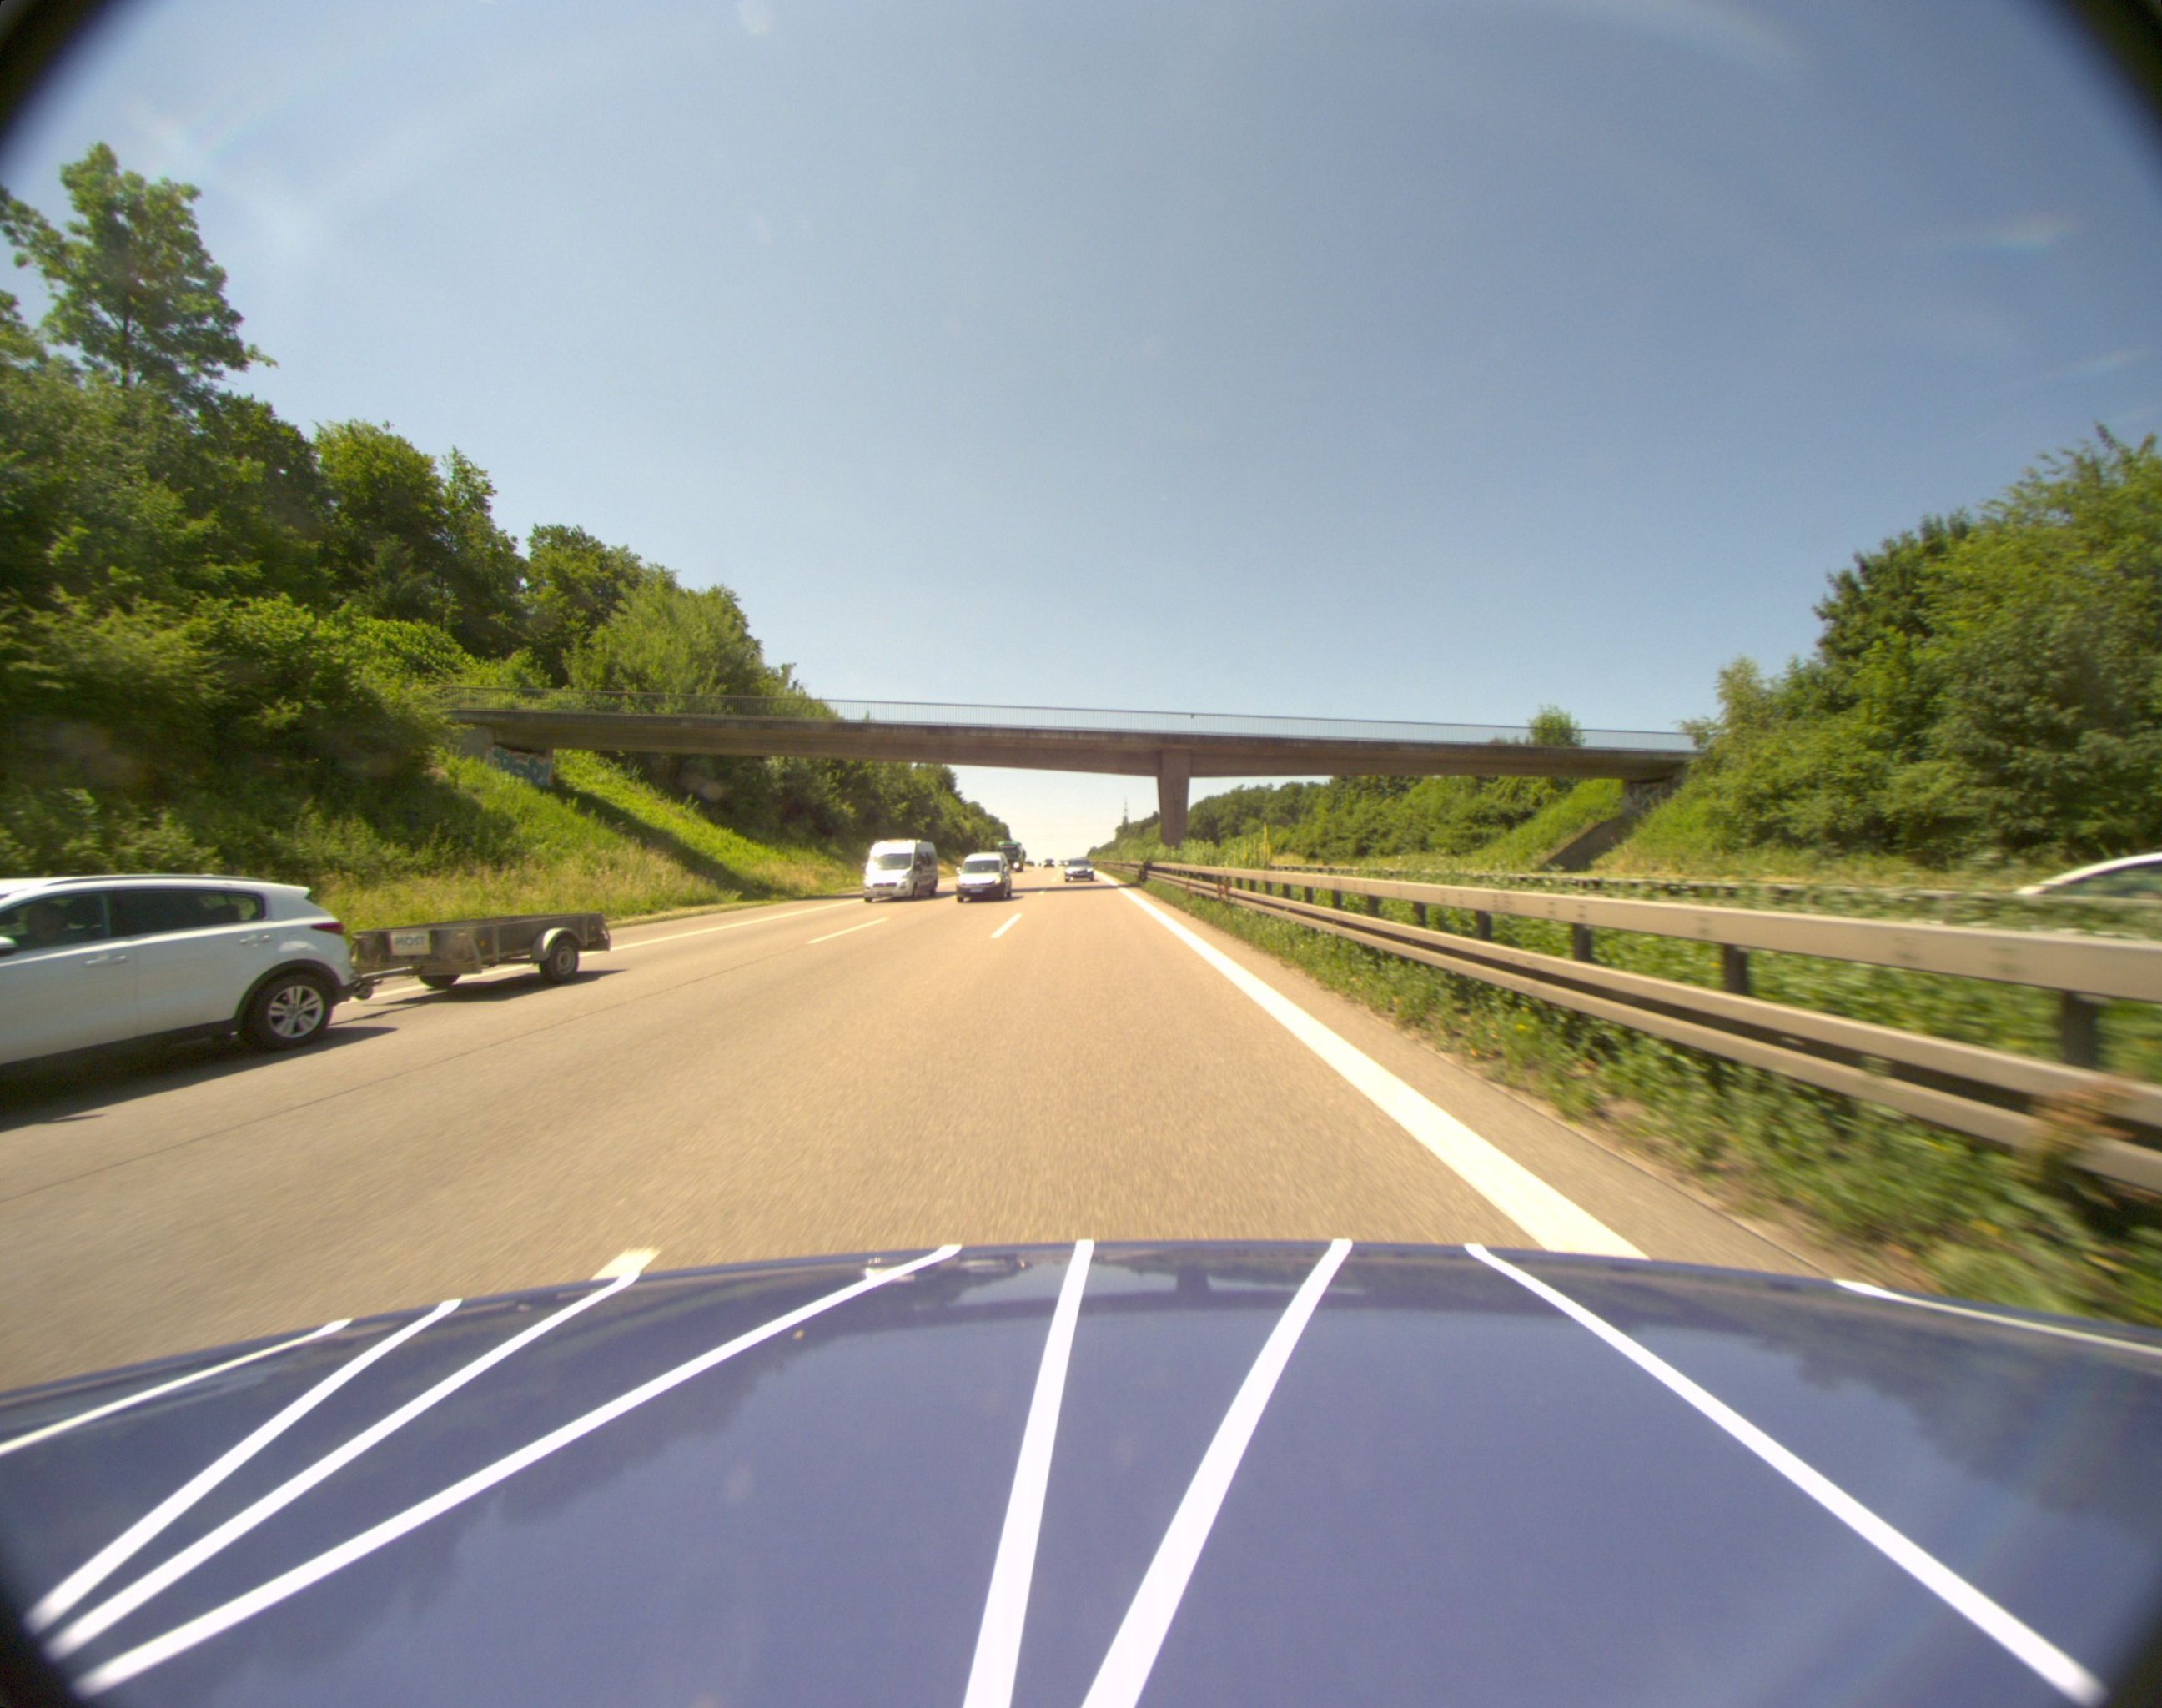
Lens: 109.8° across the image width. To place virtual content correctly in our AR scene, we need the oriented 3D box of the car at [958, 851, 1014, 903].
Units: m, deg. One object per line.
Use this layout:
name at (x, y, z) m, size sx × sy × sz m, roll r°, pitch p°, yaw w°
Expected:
car at (-3.678, 0.853, 30.073) m, size 1.750 × 1.819 × 4.800 m, roll -2°, pitch 0°, yaw -3°

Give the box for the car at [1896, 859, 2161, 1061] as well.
car at (8.922, 0.790, 5.623) m, size 1.628 × 1.480 × 3.860 m, roll -2°, pitch -1°, yaw 1°

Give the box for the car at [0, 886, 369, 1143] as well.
car at (-8.099, 1.135, 5.456) m, size 1.785 × 1.641 × 4.403 m, roll -2°, pitch -1°, yaw 0°

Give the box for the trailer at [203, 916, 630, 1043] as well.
trailer at (-8.069, 1.457, 9.922) m, size 1.759 × 0.903 × 4.319 m, roll -2°, pitch 0°, yaw 0°

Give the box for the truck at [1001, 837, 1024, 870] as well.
truck at (-8.375, -0.036, 92.796) m, size 2.517 × 3.818 × 4.891 m, roll -2°, pitch -1°, yaw -4°

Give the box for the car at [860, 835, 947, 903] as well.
car at (-7.537, 0.649, 33.047) m, size 2.094 × 2.560 × 6.623 m, roll -2°, pitch -1°, yaw 0°

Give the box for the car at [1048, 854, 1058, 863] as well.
car at (-5.032, 0.853, 136.007) m, size 1.788 × 1.550 × 3.942 m, roll -2°, pitch -1°, yaw -4°

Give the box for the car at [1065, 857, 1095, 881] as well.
car at (-0.010, 0.917, 48.178) m, size 1.768 × 1.400 × 4.000 m, roll -2°, pitch -1°, yaw 1°

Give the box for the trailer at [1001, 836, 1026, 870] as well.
trailer at (-8.604, -0.029, 98.330) m, size 2.594 × 4.003 × 10.469 m, roll -2°, pitch -1°, yaw -2°
